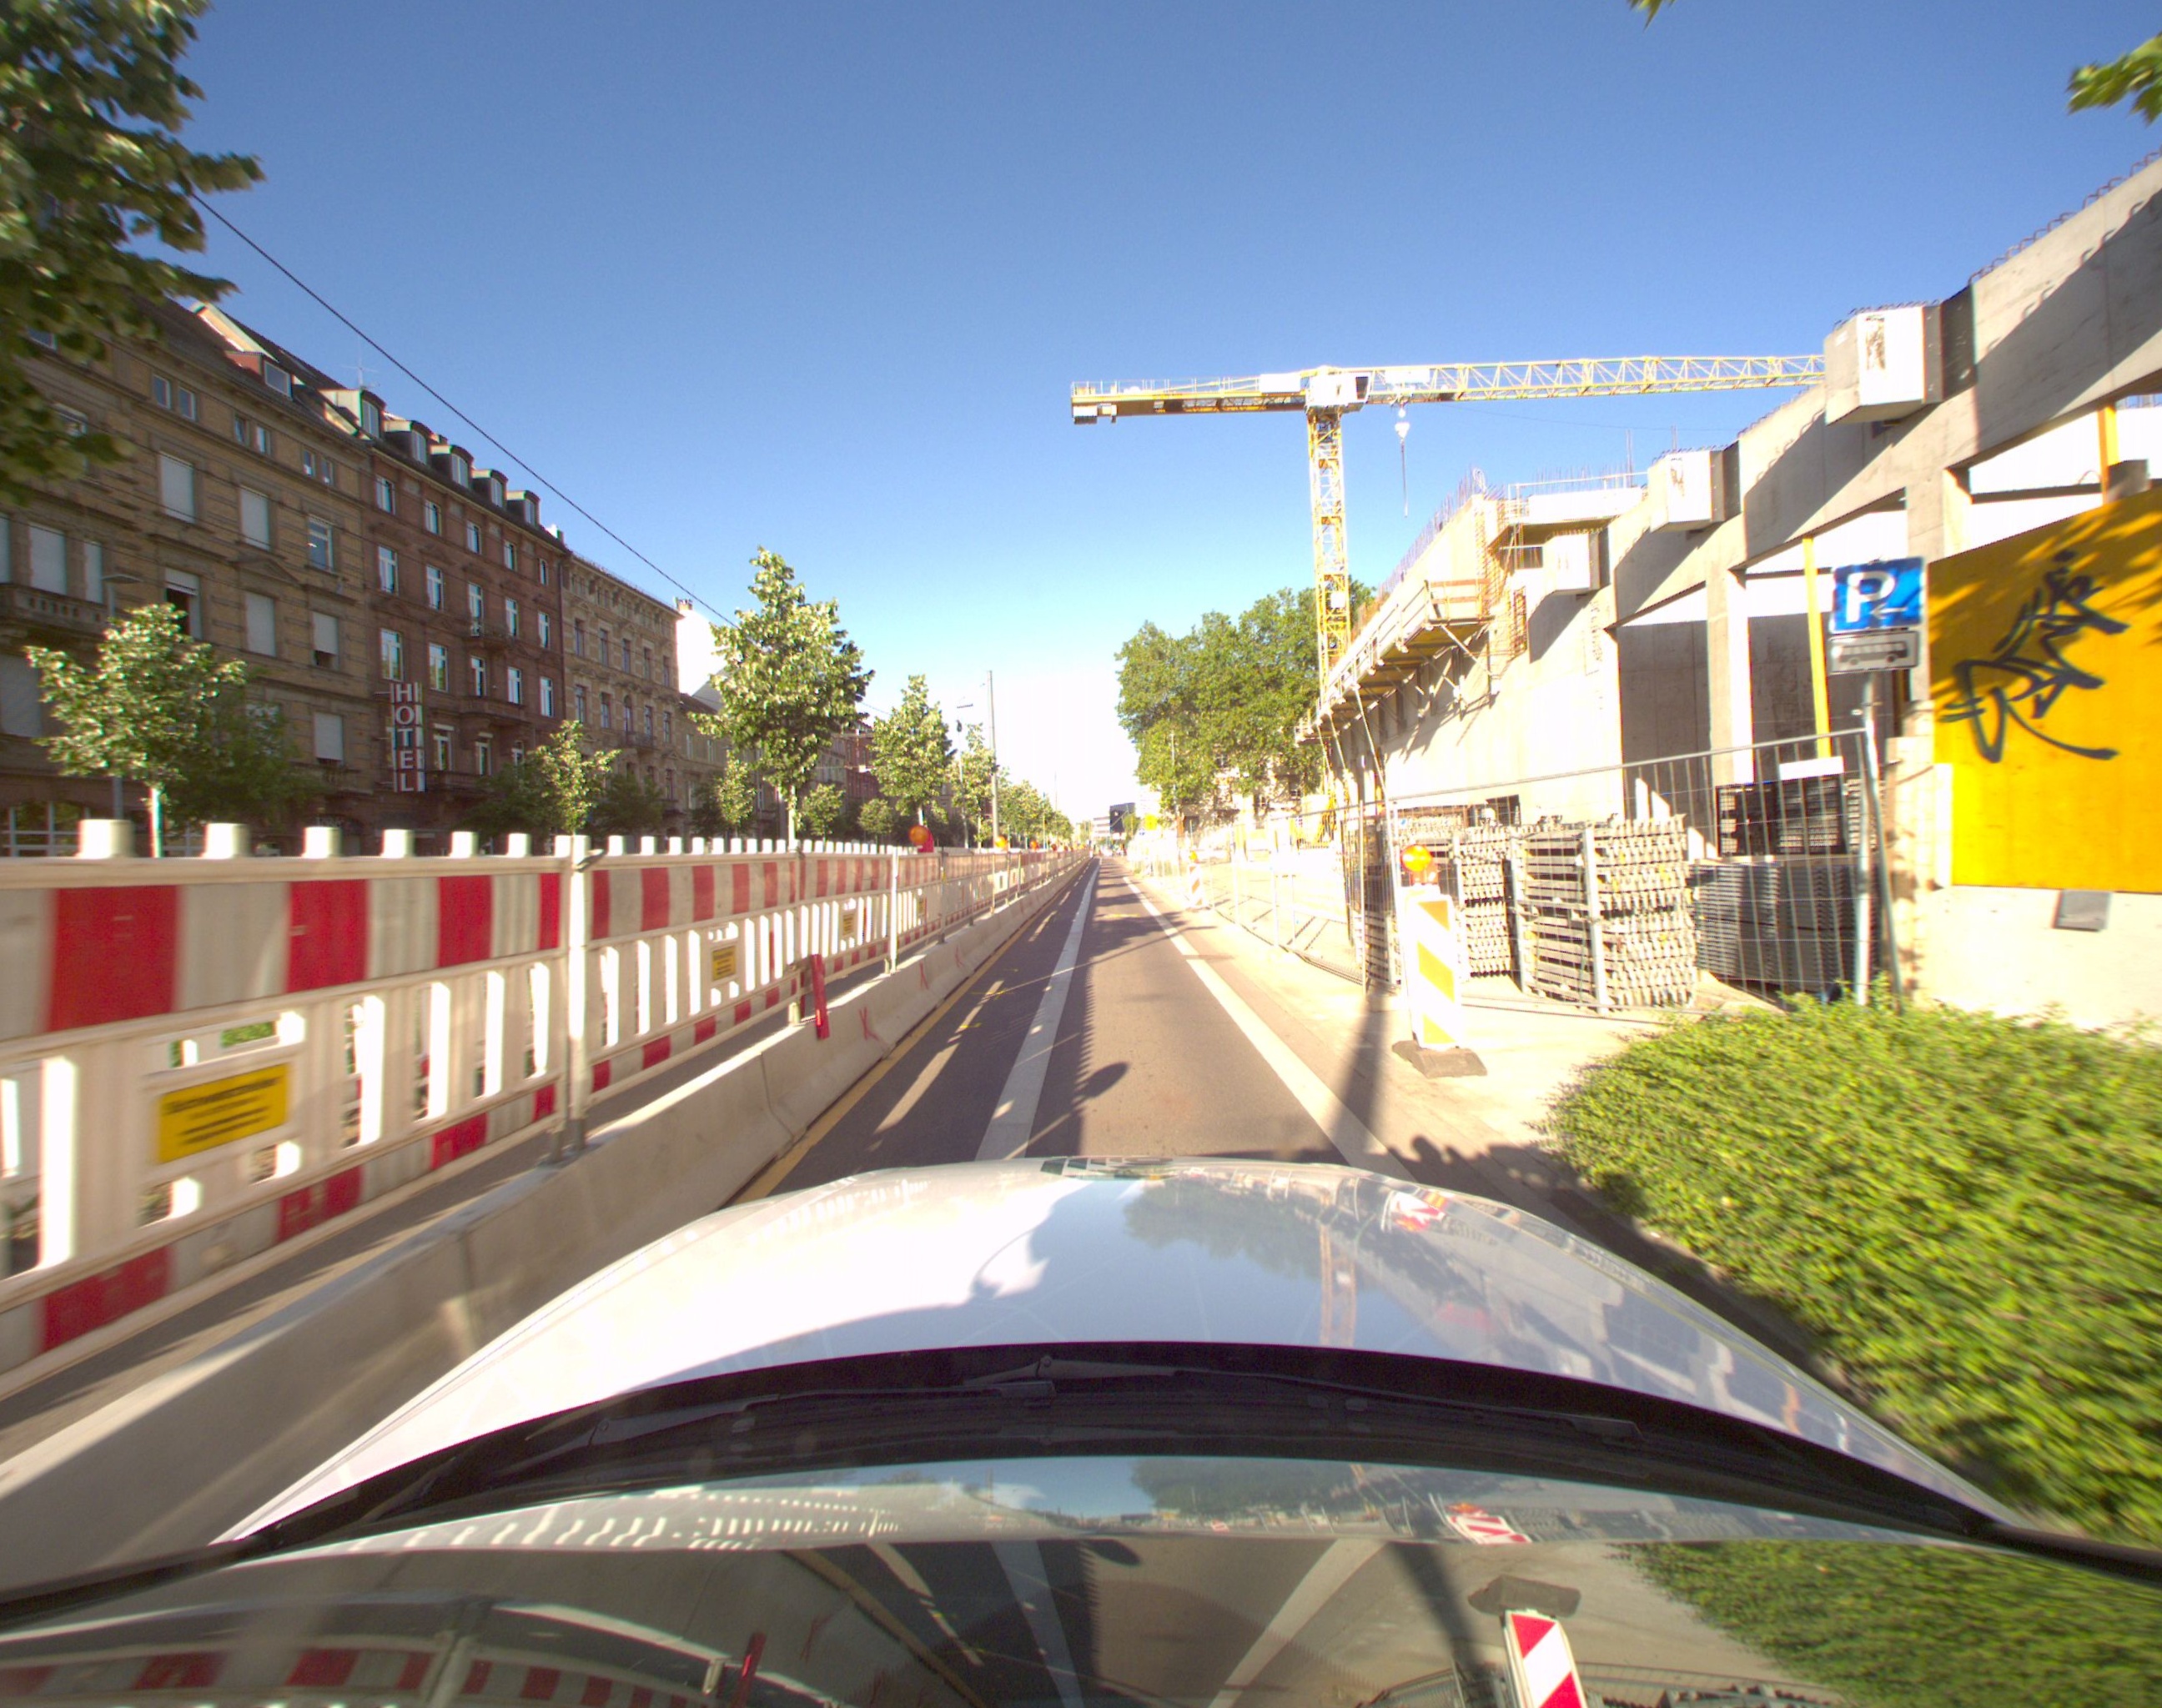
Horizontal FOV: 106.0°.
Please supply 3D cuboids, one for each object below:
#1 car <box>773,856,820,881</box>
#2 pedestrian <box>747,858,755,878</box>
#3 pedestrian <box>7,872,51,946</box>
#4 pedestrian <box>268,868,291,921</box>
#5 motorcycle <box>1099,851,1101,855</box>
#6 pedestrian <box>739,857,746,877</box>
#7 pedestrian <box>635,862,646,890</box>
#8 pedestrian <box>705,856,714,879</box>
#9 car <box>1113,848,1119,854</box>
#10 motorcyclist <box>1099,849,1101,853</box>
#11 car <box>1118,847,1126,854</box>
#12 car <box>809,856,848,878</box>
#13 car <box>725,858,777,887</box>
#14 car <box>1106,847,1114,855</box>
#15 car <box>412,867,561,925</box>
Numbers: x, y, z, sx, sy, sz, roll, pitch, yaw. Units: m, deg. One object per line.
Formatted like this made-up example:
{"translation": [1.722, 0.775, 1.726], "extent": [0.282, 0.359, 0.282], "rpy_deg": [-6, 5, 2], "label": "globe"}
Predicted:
{"translation": [-20.574, 1.019, 58.996], "extent": [1.560, 1.562, 4.716], "rpy_deg": [-2, 1, 2], "label": "car"}
{"translation": [-25.054, 1.066, 61.894], "extent": [0.403, 1.532, 0.435], "rpy_deg": [0, 0, 2], "label": "pedestrian"}
{"translation": [-25.349, 1.320, 19.625], "extent": [0.506, 1.764, 0.406], "rpy_deg": [0, 0, 1], "label": "pedestrian"}
{"translation": [-26.641, 1.342, 27.070], "extent": [0.365, 1.764, 0.406], "rpy_deg": [0, 0, 1], "label": "pedestrian"}
{"translation": [5.504, -0.306, 237.592], "extent": [0.628, 0.896, 1.621], "rpy_deg": [-2, 1, 2], "label": "motorcycle"}
{"translation": [-25.841, 0.964, 62.181], "extent": [0.403, 1.534, 0.435], "rpy_deg": [0, 0, 2], "label": "pedestrian"}
{"translation": [-25.811, 1.287, 47.710], "extent": [0.427, 1.585, 0.339], "rpy_deg": [0, 0, 2], "label": "pedestrian"}
{"translation": [-25.802, 0.952, 56.525], "extent": [0.460, 1.585, 0.434], "rpy_deg": [0, 0, -5], "label": "pedestrian"}
{"translation": [10.436, -0.939, 243.687], "extent": [1.876, 1.842, 3.669], "rpy_deg": [-2, 1, 2], "label": "car"}
{"translation": [5.484, -0.802, 237.610], "extent": [0.629, 1.263, 0.606], "rpy_deg": [-2, 0, 1], "label": "motorcyclist"}
{"translation": [10.571, -0.914, 209.182], "extent": [1.876, 1.842, 3.669], "rpy_deg": [-2, 1, 2], "label": "car"}
{"translation": [-20.267, 0.999, 65.563], "extent": [1.561, 1.562, 4.716], "rpy_deg": [-2, 1, 1], "label": "car"}
{"translation": [-20.974, 1.126, 51.903], "extent": [1.560, 1.675, 3.810], "rpy_deg": [-2, 1, 2], "label": "car"}
{"translation": [6.701, -0.708, 189.078], "extent": [1.876, 1.842, 3.669], "rpy_deg": [-2, 1, 2], "label": "car"}
{"translation": [-17.495, 1.184, 24.196], "extent": [1.588, 1.483, 3.626], "rpy_deg": [-2, 0, 3], "label": "car"}
